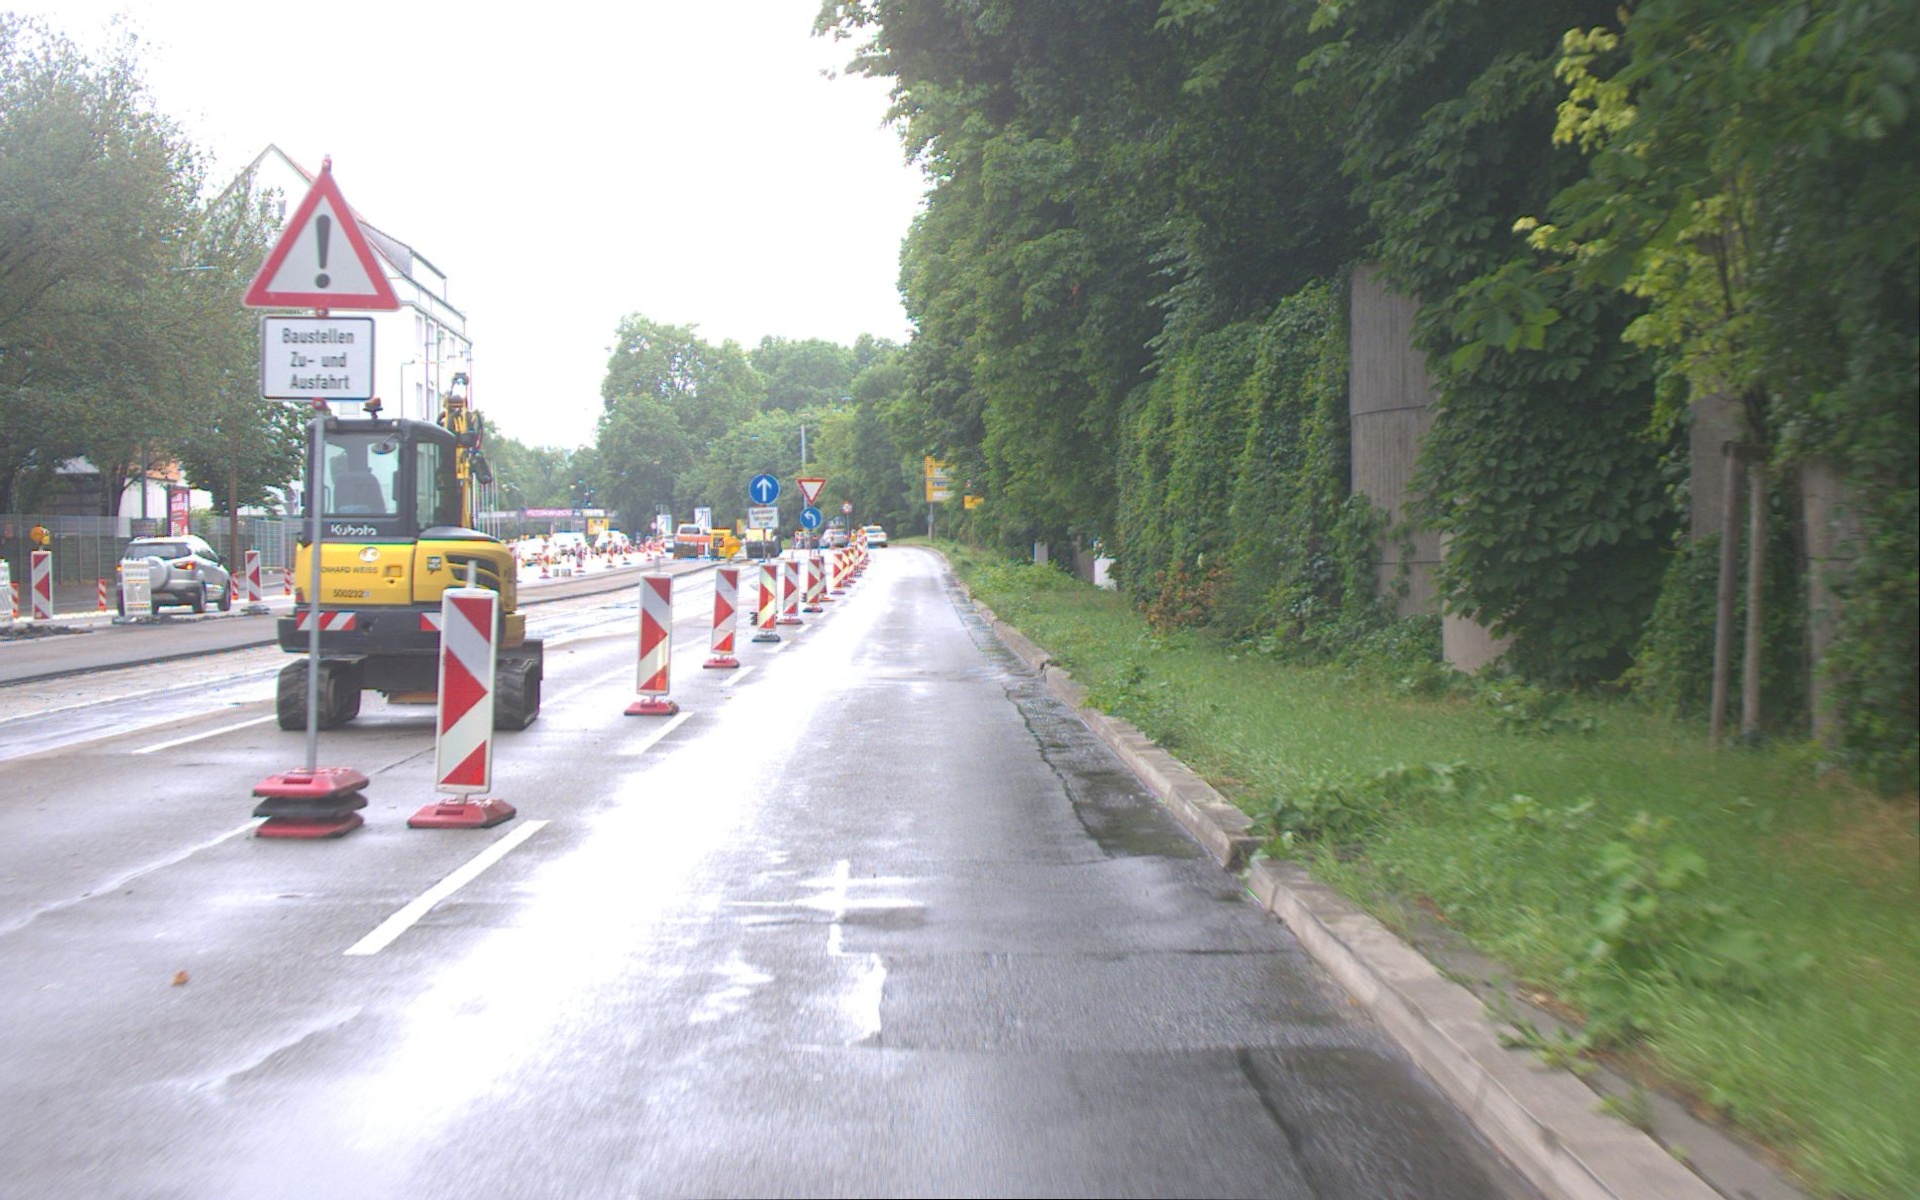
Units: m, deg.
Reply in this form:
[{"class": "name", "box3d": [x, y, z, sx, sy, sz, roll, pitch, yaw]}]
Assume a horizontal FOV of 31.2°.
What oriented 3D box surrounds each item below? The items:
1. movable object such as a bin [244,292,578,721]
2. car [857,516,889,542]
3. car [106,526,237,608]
[{"class": "movable object such as a bin", "box3d": [-4.657, -0.775, 30.064, 1.993, 3.356, 5.982, 0, 1, -1]}, {"class": "car", "box3d": [-5.734, -4.676, 226.772, 1.993, 1.667, 4.000, 0, 1, 0]}, {"class": "car", "box3d": [-16.412, -0.702, 71.684, 1.854, 1.642, 4.000, 0, 1, -1]}]
